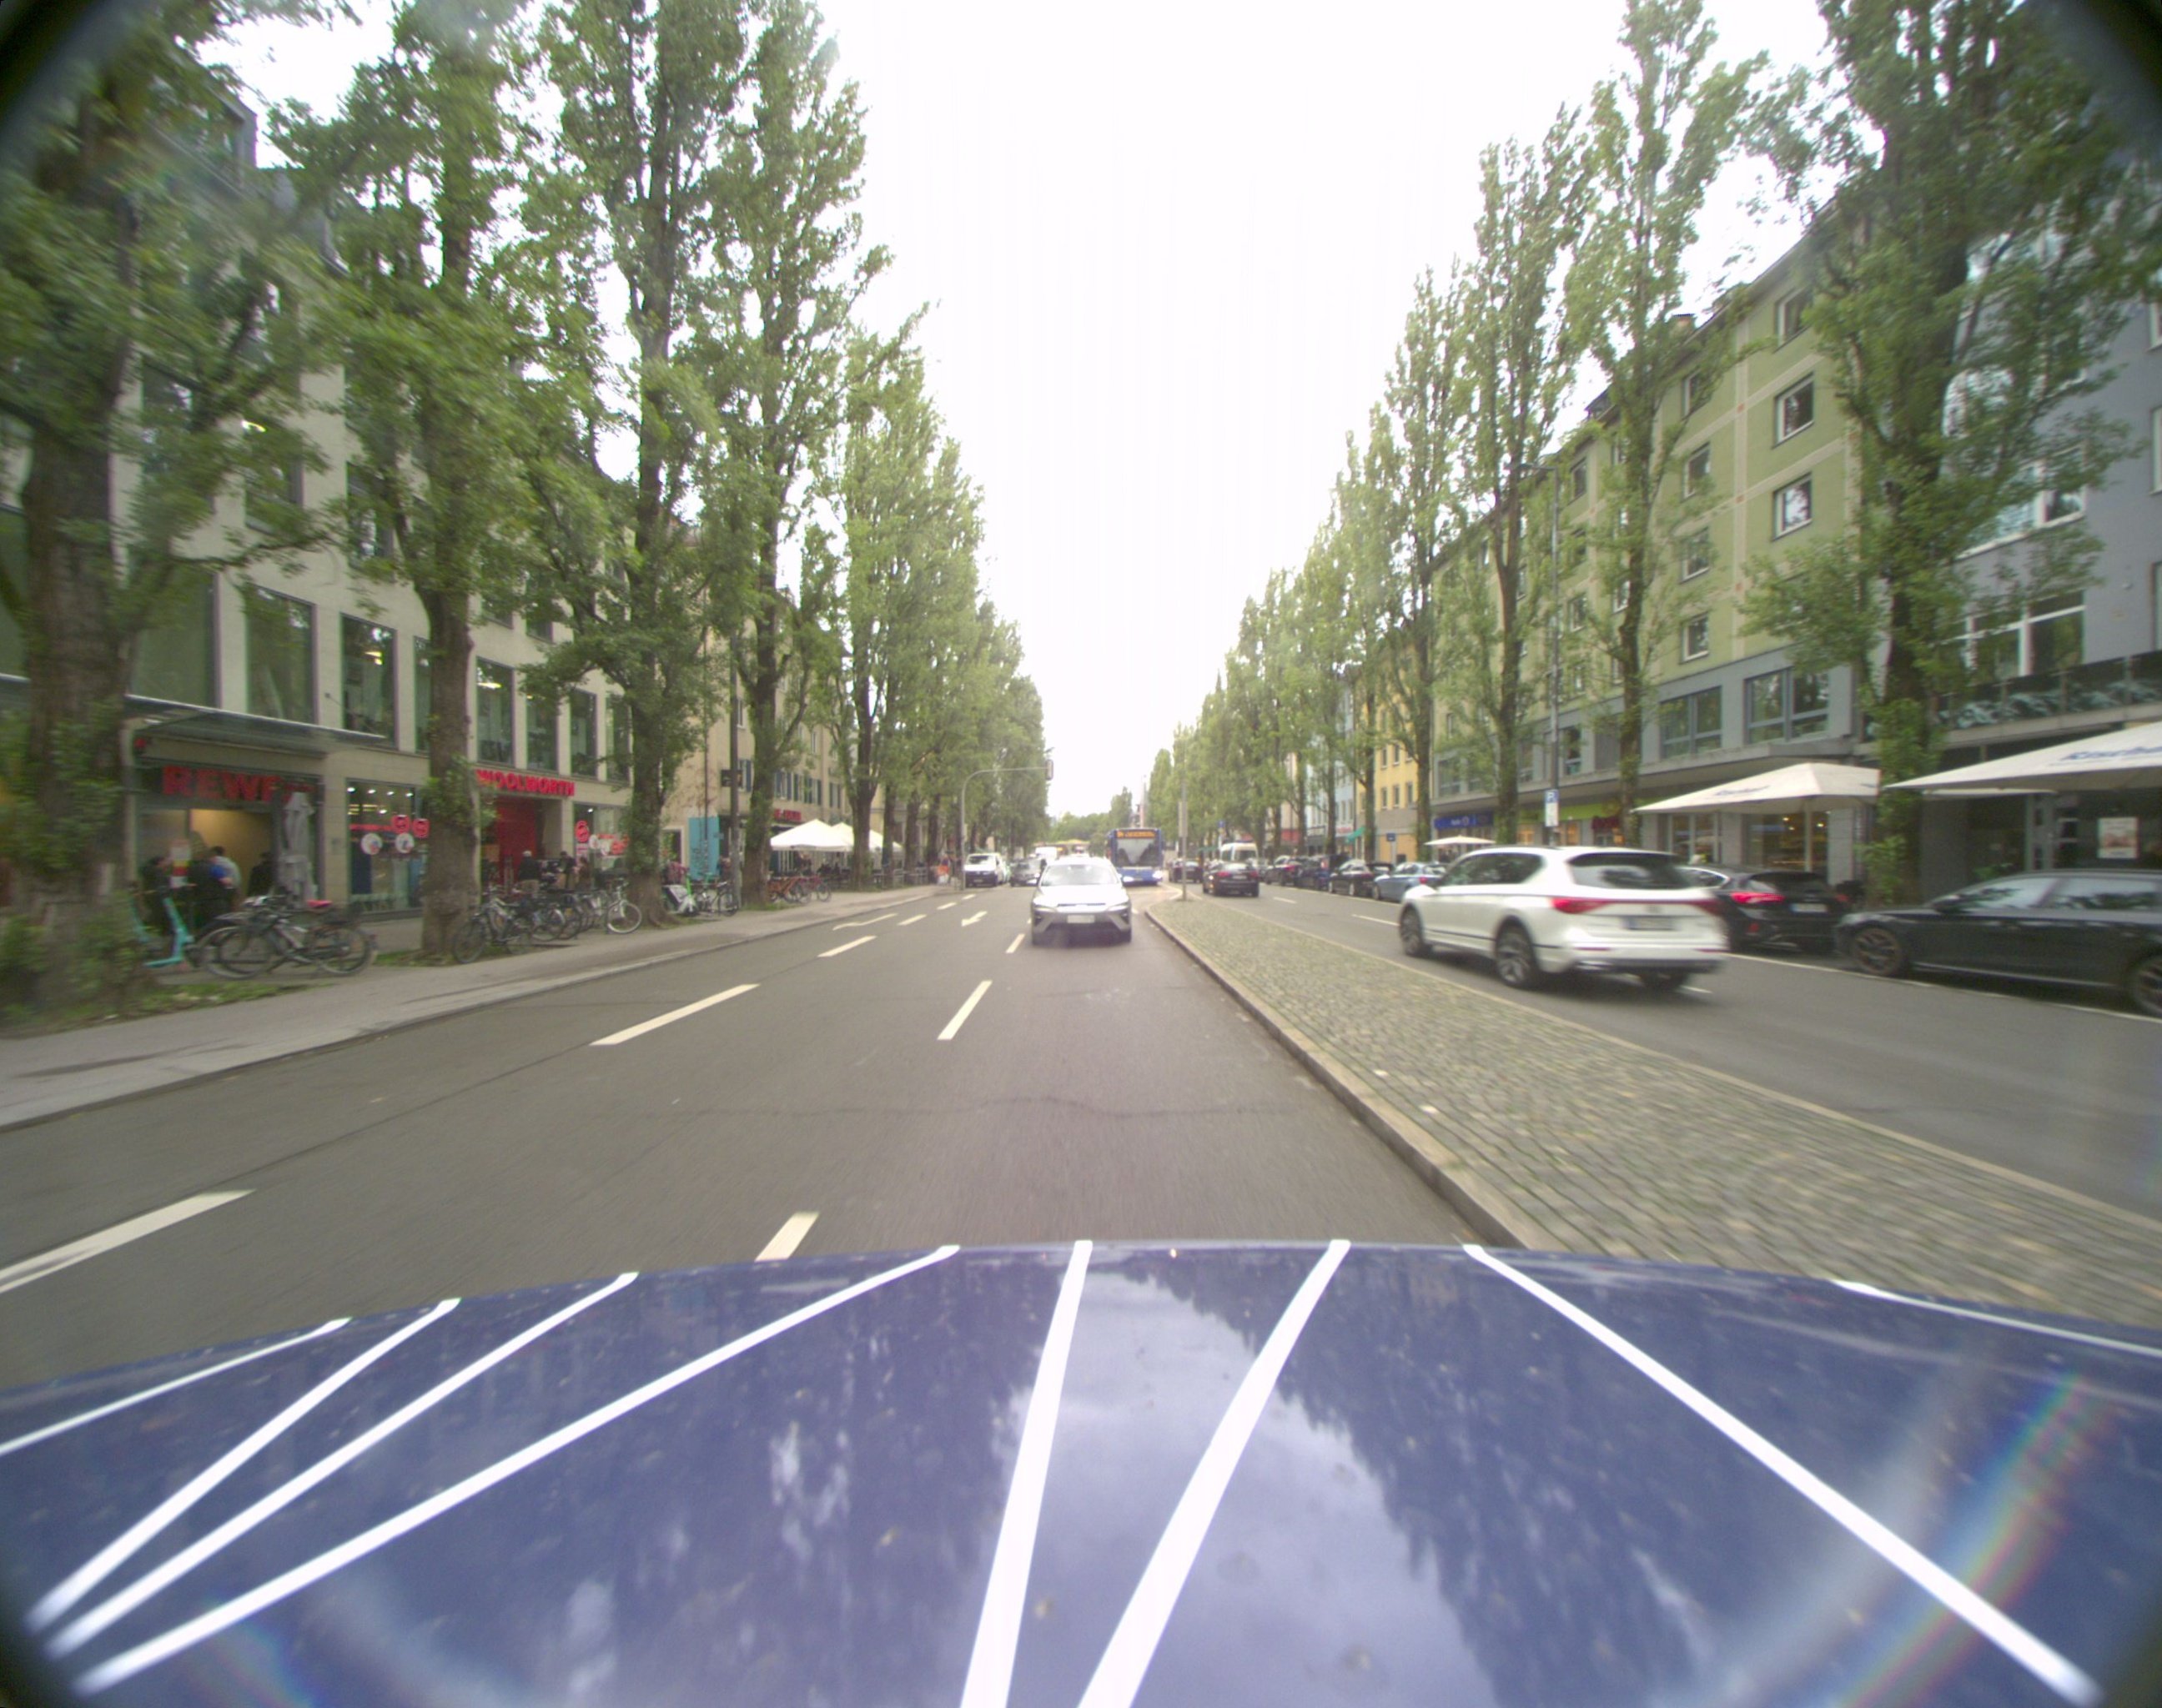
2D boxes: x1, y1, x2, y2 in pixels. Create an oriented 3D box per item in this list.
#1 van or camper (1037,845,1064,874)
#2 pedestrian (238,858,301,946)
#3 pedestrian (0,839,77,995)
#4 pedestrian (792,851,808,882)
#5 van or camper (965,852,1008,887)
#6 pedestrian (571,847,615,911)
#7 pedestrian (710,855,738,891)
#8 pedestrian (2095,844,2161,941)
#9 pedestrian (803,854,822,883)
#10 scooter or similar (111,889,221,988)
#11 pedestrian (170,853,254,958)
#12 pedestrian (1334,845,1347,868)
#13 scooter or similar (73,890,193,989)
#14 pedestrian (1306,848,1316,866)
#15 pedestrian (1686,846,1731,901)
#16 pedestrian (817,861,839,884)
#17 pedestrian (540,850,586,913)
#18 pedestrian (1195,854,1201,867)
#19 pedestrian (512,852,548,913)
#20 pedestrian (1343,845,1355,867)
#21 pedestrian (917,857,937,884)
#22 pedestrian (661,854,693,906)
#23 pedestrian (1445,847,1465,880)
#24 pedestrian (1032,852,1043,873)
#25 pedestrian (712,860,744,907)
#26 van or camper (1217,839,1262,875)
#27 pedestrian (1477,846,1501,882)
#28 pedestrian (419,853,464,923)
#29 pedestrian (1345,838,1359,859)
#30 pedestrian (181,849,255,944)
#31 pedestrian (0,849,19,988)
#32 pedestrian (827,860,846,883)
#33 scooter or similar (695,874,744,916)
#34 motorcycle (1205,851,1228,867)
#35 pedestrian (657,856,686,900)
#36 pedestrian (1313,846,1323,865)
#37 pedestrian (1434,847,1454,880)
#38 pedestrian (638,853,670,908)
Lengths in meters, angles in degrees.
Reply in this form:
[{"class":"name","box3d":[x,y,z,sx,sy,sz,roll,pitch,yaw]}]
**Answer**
[{"class":"van or camper","box3d":[-2.663,0.469,67.246,1.998,2.470,6.644,0,0,1]},{"class":"pedestrian","box3d":[-16.240,0.929,15.230,0.659,1.700,0.690,-1,1,-29]},{"class":"pedestrian","box3d":[-13.900,0.799,9.905,0.658,1.959,0.722,0,0,3]},{"class":"pedestrian","box3d":[-15.584,0.707,42.144,0.629,1.709,0.681,-1,1,1]},{"class":"van or camper","box3d":[-5.417,0.855,44.259,1.795,1.894,4.566,-1,0,1]},{"class":"pedestrian","box3d":[-14.518,0.738,22.621,0.753,1.859,0.821,0,1,4]},{"class":"pedestrian","box3d":[-16.141,0.839,34.373,0.764,1.594,1.016,-1,0,1]},{"class":"pedestrian","box3d":[18.166,0.635,12.954,0.755,1.592,0.743,0,1,-1]},{"class":"pedestrian","box3d":[-14.860,0.799,42.081,0.696,1.568,0.874,-1,0,1]},{"class":"scooter or similar","box3d":[-12.712,1.141,10.586,0.248,1.266,1.036,-1,1,1]},{"class":"pedestrian","box3d":[-15.082,0.877,13.205,0.658,1.774,0.674,0,1,2]},{"class":"pedestrian","box3d":[19.725,0.171,57.848,0.732,1.755,0.724,0,1,-1]},{"class":"scooter or similar","box3d":[-13.140,1.155,10.565,0.331,1.266,1.036,-1,1,1]},{"class":"pedestrian","box3d":[21.480,0.255,70.871,0.723,1.641,0.706,0,1,1]},{"class":"pedestrian","box3d":[20.208,0.614,24.492,0.820,1.744,0.756,-1,1,1]},{"class":"pedestrian","box3d":[-13.577,0.984,40.846,0.775,1.209,1.023,-1,0,4]},{"class":"pedestrian","box3d":[-15.630,0.819,22.952,0.753,1.843,0.821,-1,0,2]},{"class":"pedestrian","box3d":[14.997,0.818,97.368,0.609,1.580,0.551,0,1,12]},{"class":"pedestrian","box3d":[-16.293,0.823,22.484,0.595,1.757,0.641,-1,1,-11]},{"class":"pedestrian","box3d":[20.453,0.163,57.990,0.640,1.694,0.724,0,1,0]},{"class":"pedestrian","box3d":[-10.249,1.077,50.495,0.941,1.756,0.837,-1,1,38]},{"class":"pedestrian","box3d":[-12.953,0.822,24.360,0.547,1.639,0.751,-1,0,4]},{"class":"pedestrian","box3d":[20.483,0.532,41.584,0.749,1.784,0.716,-1,1,1]},{"class":"pedestrian","box3d":[-3.608,0.711,63.395,0.790,1.747,0.770,-1,1,3]},{"class":"pedestrian","box3d":[-12.200,1.009,26.261,0.711,1.580,0.793,1,1,3]},{"class":"van or camper","box3d":[11.802,0.229,57.066,2.131,2.536,6.644,0,0,1]},{"class":"pedestrian","box3d":[19.035,0.467,35.447,0.723,1.641,0.712,0,1,1]},{"class":"pedestrian","box3d":[-16.465,0.854,19.580,0.547,1.757,0.642,-1,1,1]},{"class":"pedestrian","box3d":[18.645,-0.352,52.235,0.769,1.430,0.551,0,1,-4]},{"class":"pedestrian","box3d":[-16.784,0.806,14.795,0.623,1.809,0.691,0,1,-1]},{"class":"pedestrian","box3d":[-14.680,0.861,9.803,0.658,1.840,0.906,0,1,2]},{"class":"pedestrian","box3d":[-13.500,0.956,41.993,0.667,1.209,1.023,-1,0,4]},{"class":"scooter or similar","box3d":[-10.681,1.191,22.489,0.285,1.163,1.246,-1,1,43]},{"class":"motorcycle","box3d":[12.550,0.451,70.260,2.023,1.413,0.570,0,1,-6]},{"class":"pedestrian","box3d":[-14.365,0.849,26.674,0.566,1.511,0.697,-1,0,4]},{"class":"pedestrian","box3d":[18.738,0.114,60.083,0.649,1.430,0.551,0,1,-1]},{"class":"pedestrian","box3d":[19.855,0.509,41.581,0.749,1.784,0.716,-1,1,1]},{"class":"pedestrian","box3d":[-13.765,0.852,24.511,0.566,1.732,0.697,-1,1,4]}]
